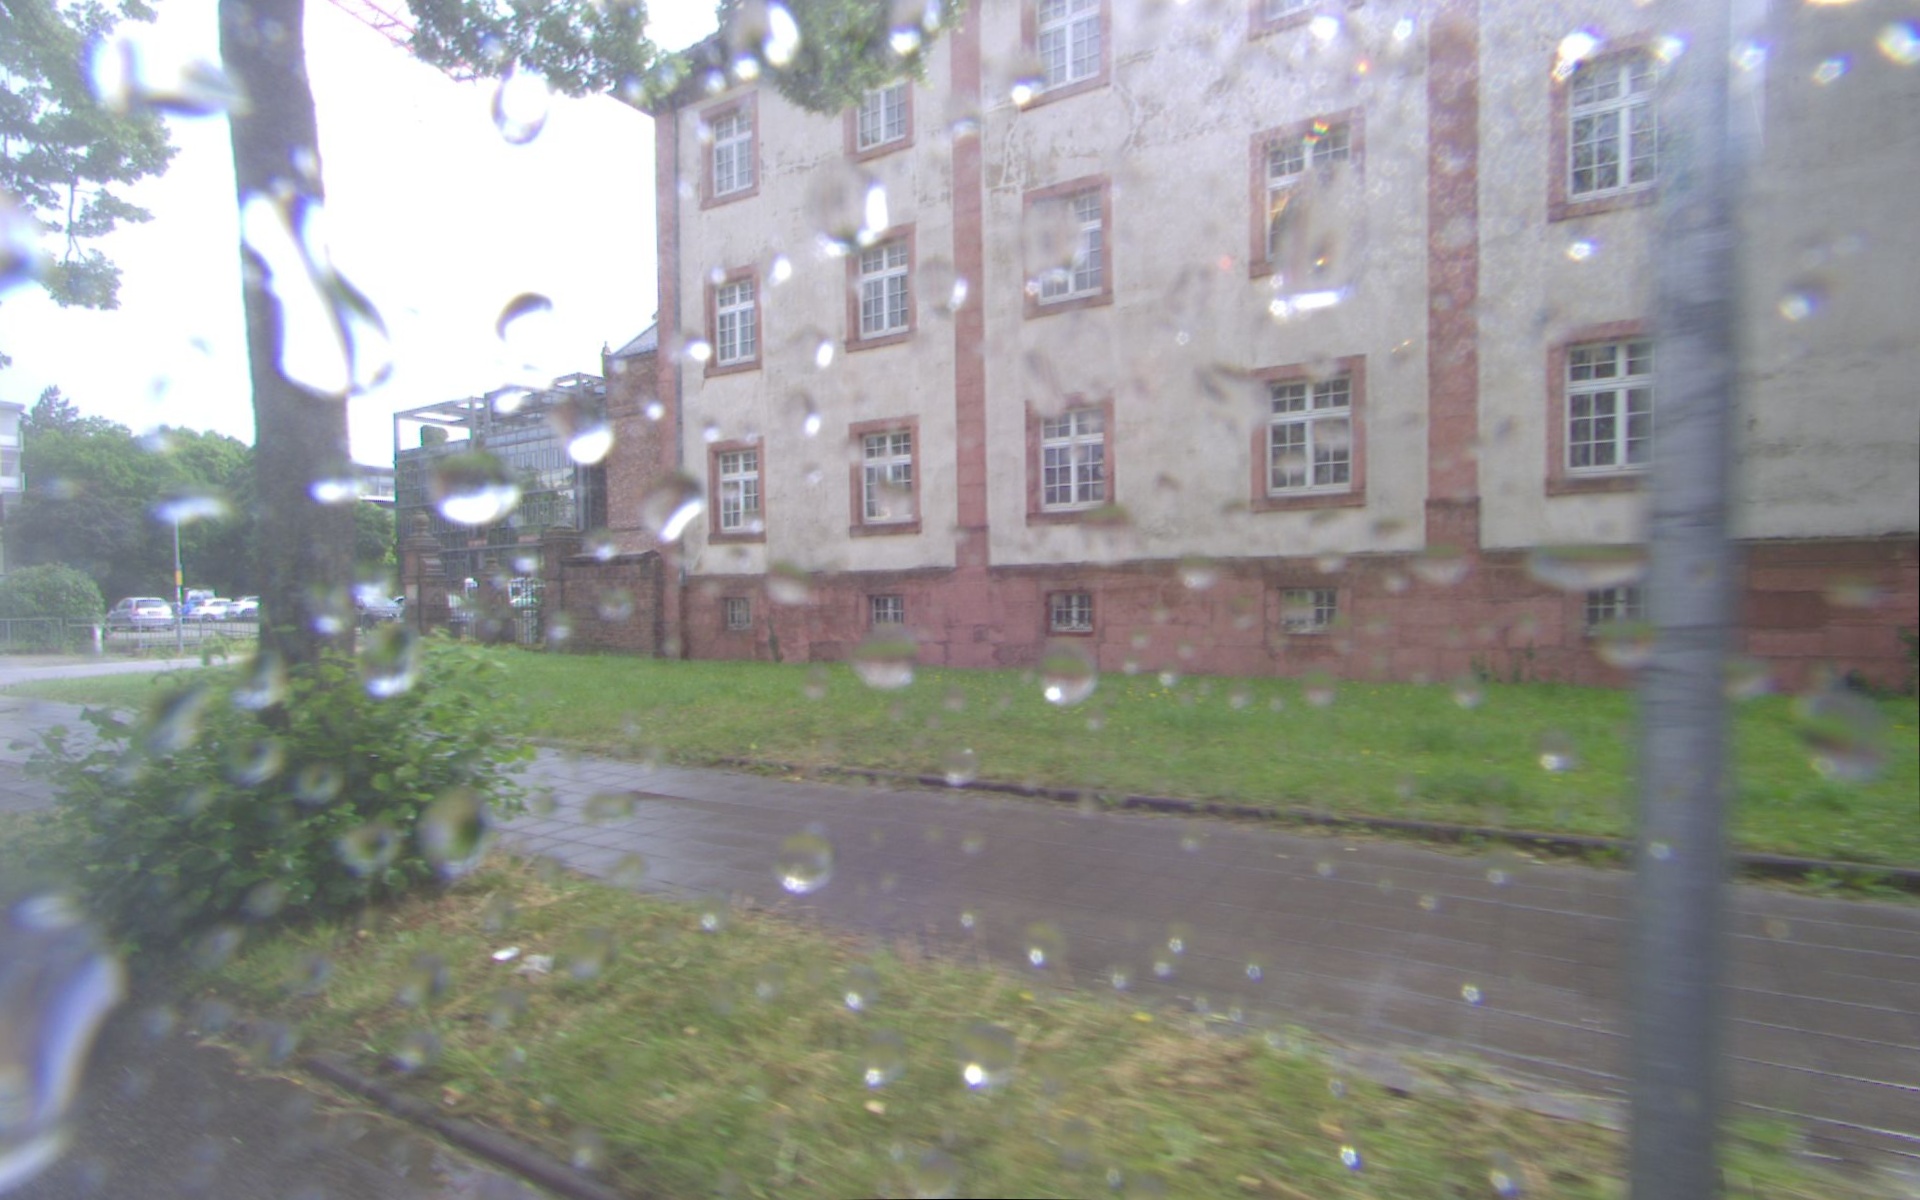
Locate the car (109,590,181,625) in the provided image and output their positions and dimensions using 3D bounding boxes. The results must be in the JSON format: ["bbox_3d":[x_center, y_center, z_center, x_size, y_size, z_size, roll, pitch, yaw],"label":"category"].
[{"bbox_3d":[-37.527,0.335,46.109,3.669,1.506,1.643,0,2,36],"label":"car"}]

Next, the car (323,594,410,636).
[{"bbox_3d":[-25.894,0.632,43.647,4.368,1.702,1.845,0,2,39],"label":"car"}]

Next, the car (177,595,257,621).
[{"bbox_3d":[-46.285,0.464,62.416,1.617,1.506,3.653,0,1,36],"label":"car"}]

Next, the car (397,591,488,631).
[{"bbox_3d":[-23.622,0.483,45.631,4.363,1.702,1.847,0,2,35],"label":"car"}]

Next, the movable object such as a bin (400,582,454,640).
[{"bbox_3d":[-14.060,0.269,26.426,1.081,1.477,0.797,0,3,34],"label":"movable object such as a bin"}]

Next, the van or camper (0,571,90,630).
[{"bbox_3d":[-42.954,0.042,45.306,2.145,2.588,4.985,-1,0,34],"label":"van or camper"}]

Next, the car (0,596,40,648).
[{"bbox_3d":[-34.527,0.777,35.604,4.181,1.773,1.798,0,2,35],"label":"car"}]

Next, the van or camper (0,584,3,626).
[{"bbox_3d":[-51.650,0.256,50.382,2.291,2.160,4.743,0,1,36],"label":"van or camper"}]

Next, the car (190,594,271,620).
[{"bbox_3d":[-44.604,0.398,61.248,1.617,1.506,3.653,0,1,36],"label":"car"}]

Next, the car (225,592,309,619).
[{"bbox_3d":[-40.273,0.300,58.236,1.617,1.506,3.653,0,1,36],"label":"car"}]

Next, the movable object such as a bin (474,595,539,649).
[{"bbox_3d":[-12.923,0.608,28.549,1.371,1.477,1.102,0,3,34],"label":"movable object such as a bin"}]

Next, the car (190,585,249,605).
[{"bbox_3d":[-54.906,-0.400,74.280,1.489,1.416,3.214,0,1,36],"label":"car"}]

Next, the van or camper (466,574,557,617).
[{"bbox_3d":[-28.007,-0.214,62.643,2.226,2.518,4.778,-1,-2,32],"label":"van or camper"}]

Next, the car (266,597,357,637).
[{"bbox_3d":[-27.196,0.696,41.966,4.367,1.547,1.821,0,2,38],"label":"car"}]

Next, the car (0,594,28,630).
[{"bbox_3d":[-40.651,0.492,41.933,3.369,1.468,1.606,0,2,34],"label":"car"}]
